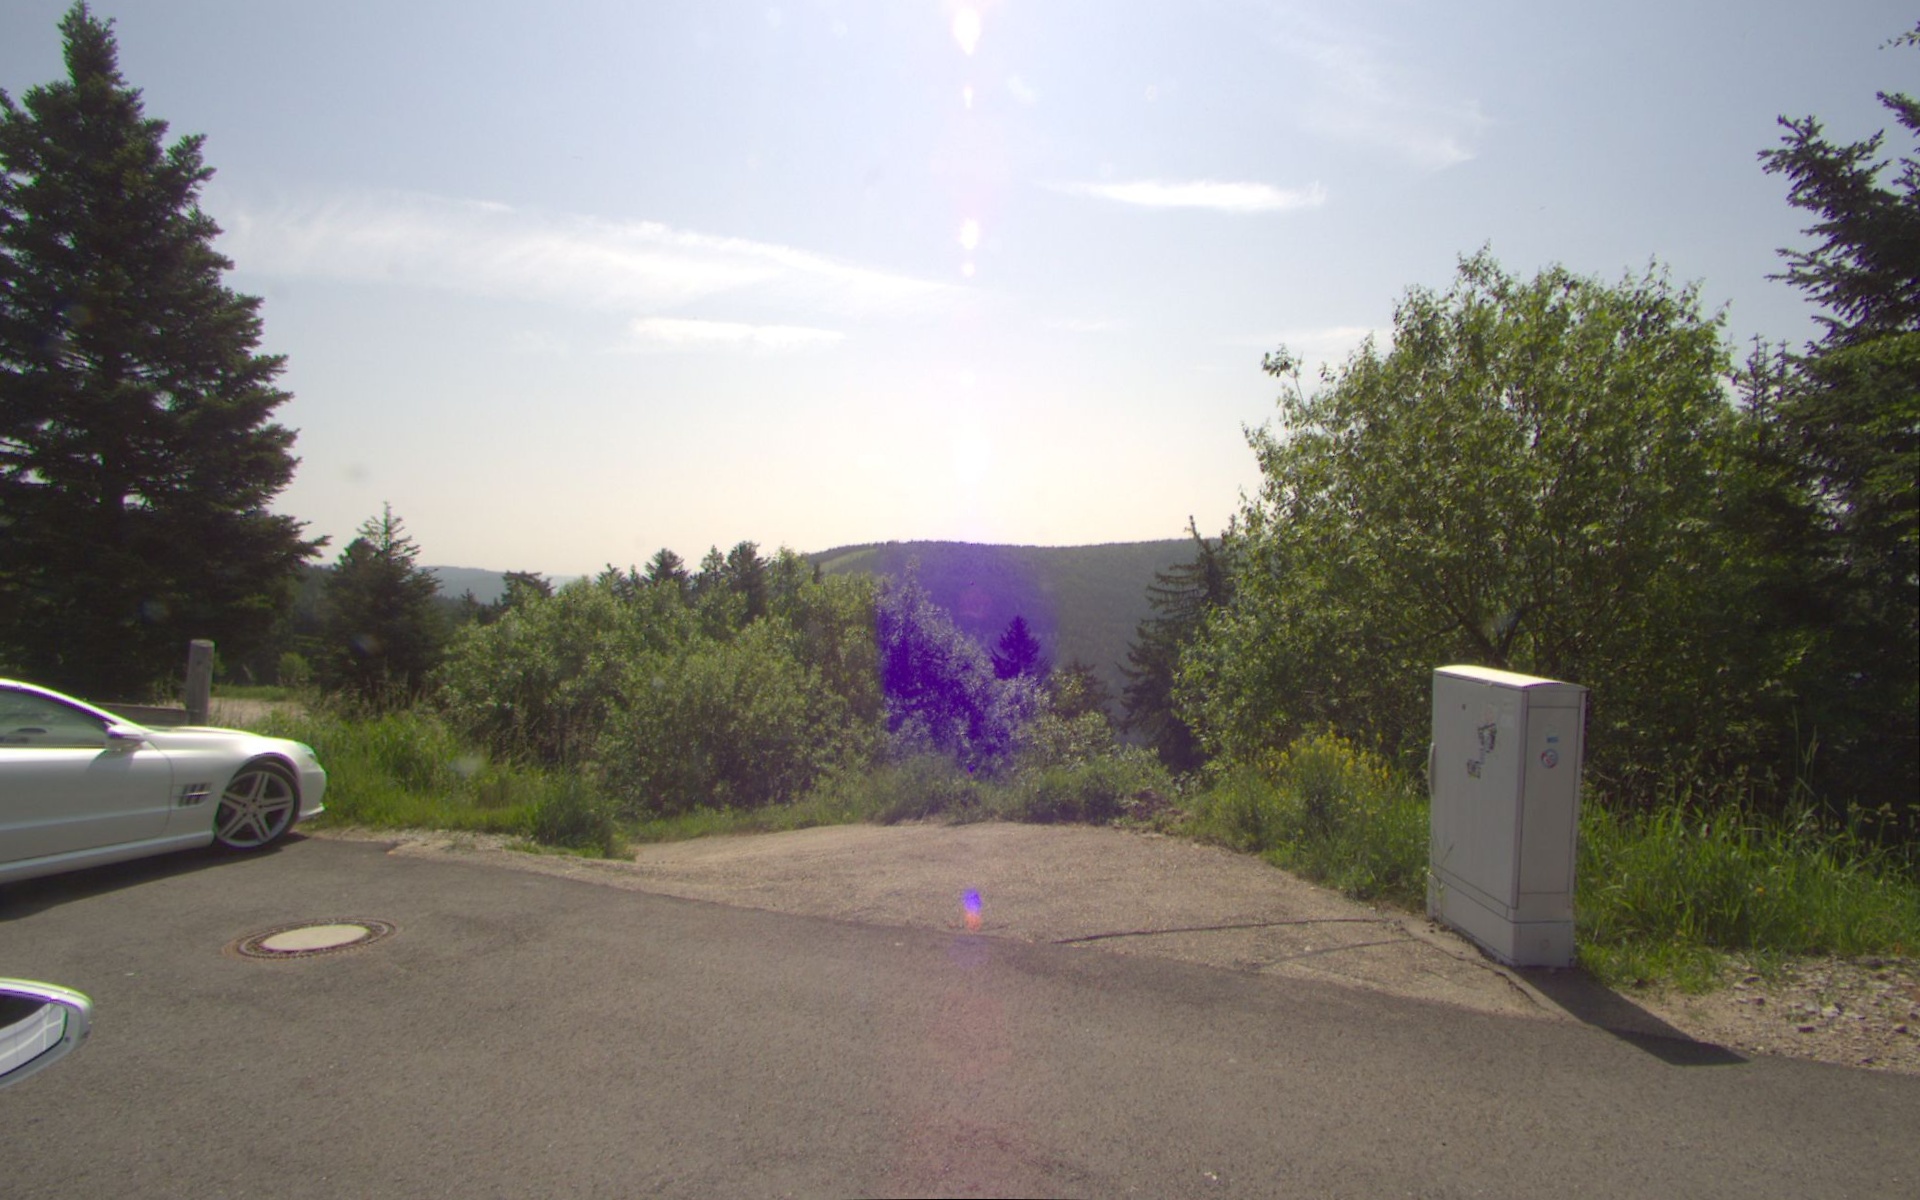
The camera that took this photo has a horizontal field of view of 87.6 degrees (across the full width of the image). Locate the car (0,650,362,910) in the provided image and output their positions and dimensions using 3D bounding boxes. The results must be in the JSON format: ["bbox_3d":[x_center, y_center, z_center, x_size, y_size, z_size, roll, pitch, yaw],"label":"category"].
[{"bbox_3d":[-5.836,0.969,5.765,1.722,1.312,4.415,1,-3,7],"label":"car"}]
